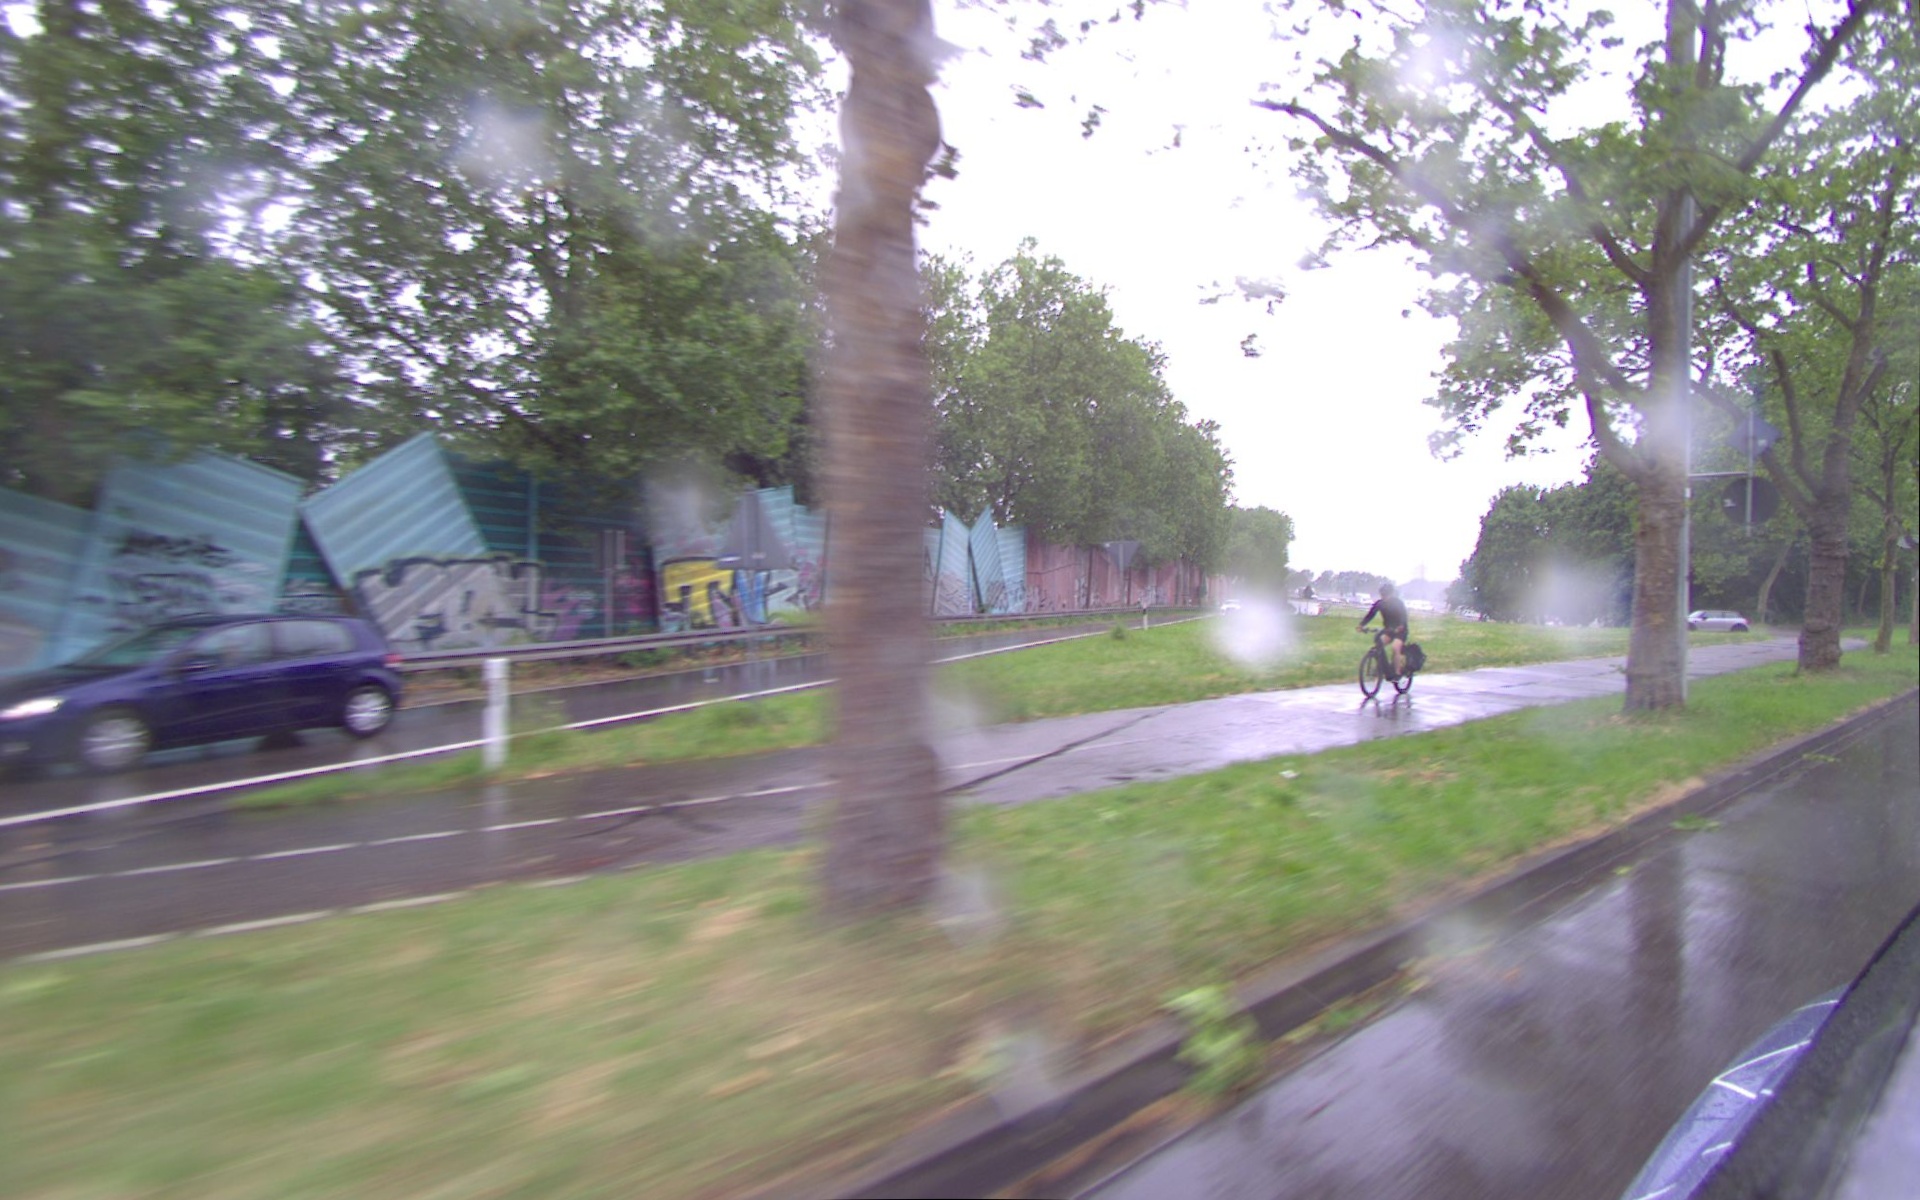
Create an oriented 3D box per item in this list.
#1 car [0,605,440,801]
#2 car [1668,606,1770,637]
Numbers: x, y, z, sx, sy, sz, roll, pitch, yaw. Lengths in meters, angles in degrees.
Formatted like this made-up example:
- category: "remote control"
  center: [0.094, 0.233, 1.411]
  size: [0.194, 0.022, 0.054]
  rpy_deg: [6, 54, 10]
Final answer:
- category: "car"
  center: [-8.184, 0.885, 10.913]
  size: [1.847, 1.556, 4.483]
  rpy_deg: [1, 1, 22]
- category: "car"
  center: [40.744, 1.120, 54.401]
  size: [3.944, 1.437, 1.744]
  rpy_deg: [2, 2, 16]
